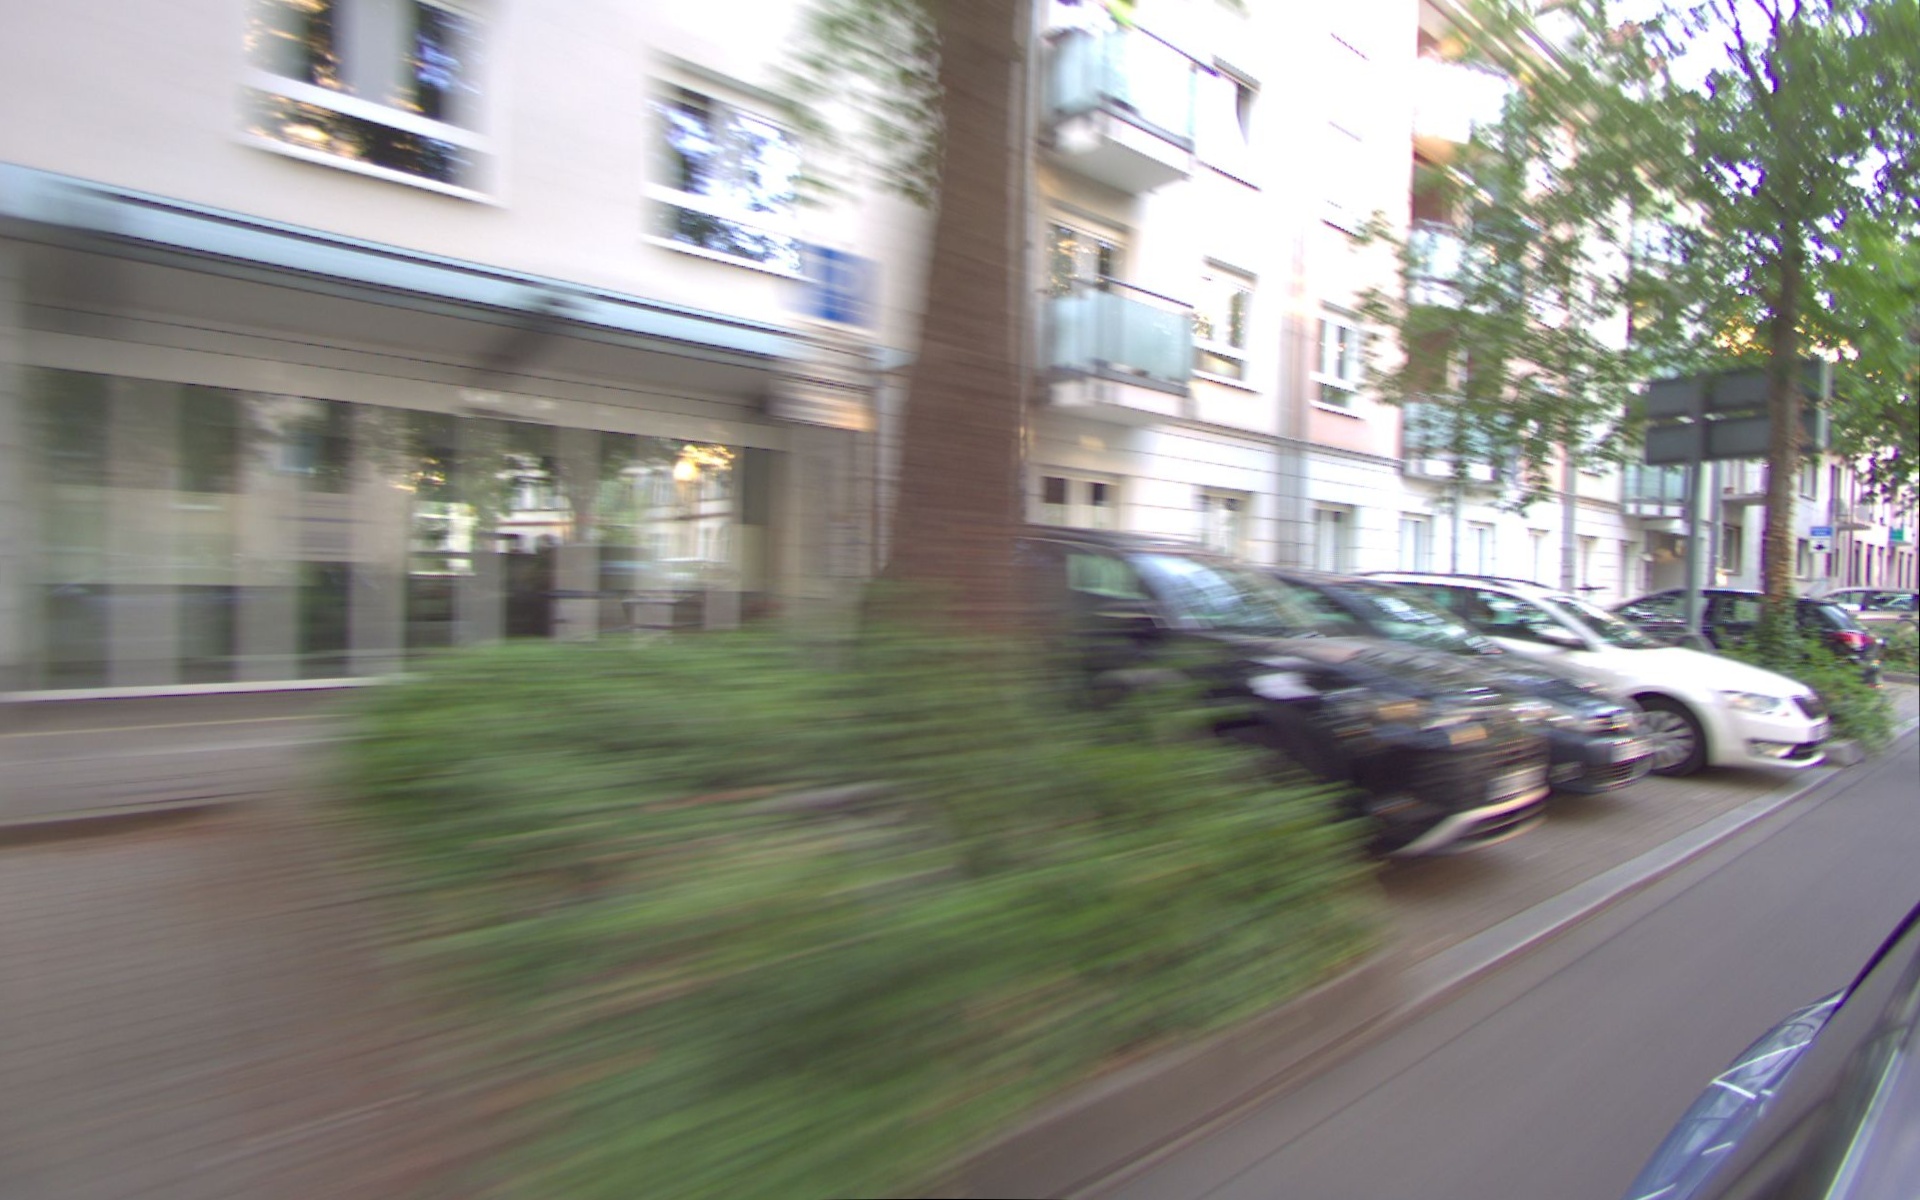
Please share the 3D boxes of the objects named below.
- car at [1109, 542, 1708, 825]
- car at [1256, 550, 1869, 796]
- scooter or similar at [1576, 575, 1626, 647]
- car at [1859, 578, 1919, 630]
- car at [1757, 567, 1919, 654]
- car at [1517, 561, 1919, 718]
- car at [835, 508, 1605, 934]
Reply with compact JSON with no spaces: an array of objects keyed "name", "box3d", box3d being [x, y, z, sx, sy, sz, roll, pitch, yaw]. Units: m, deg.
[{"name":"car","box3d":[3.272,0.408,8.115,1.695,1.543,4.000,0,5,-37]},{"name":"car","box3d":[5.299,0.434,9.530,1.741,1.570,4.584,0,4,-40]},{"name":"scooter or similar","box3d":[11.650,0.189,18.396,1.231,1.256,0.400,0,1,-40]},{"name":"car","box3d":[30.280,0.232,30.547,1.698,1.487,4.376,1,4,-35]},{"name":"car","box3d":[20.331,0.233,22.376,1.891,1.687,3.873,0,4,-39]},{"name":"car","box3d":[9.894,0.386,13.363,1.881,1.492,3.994,0,5,-43]},{"name":"car","box3d":[1.265,0.354,6.444,1.863,1.724,4.392,0,5,-42]}]
